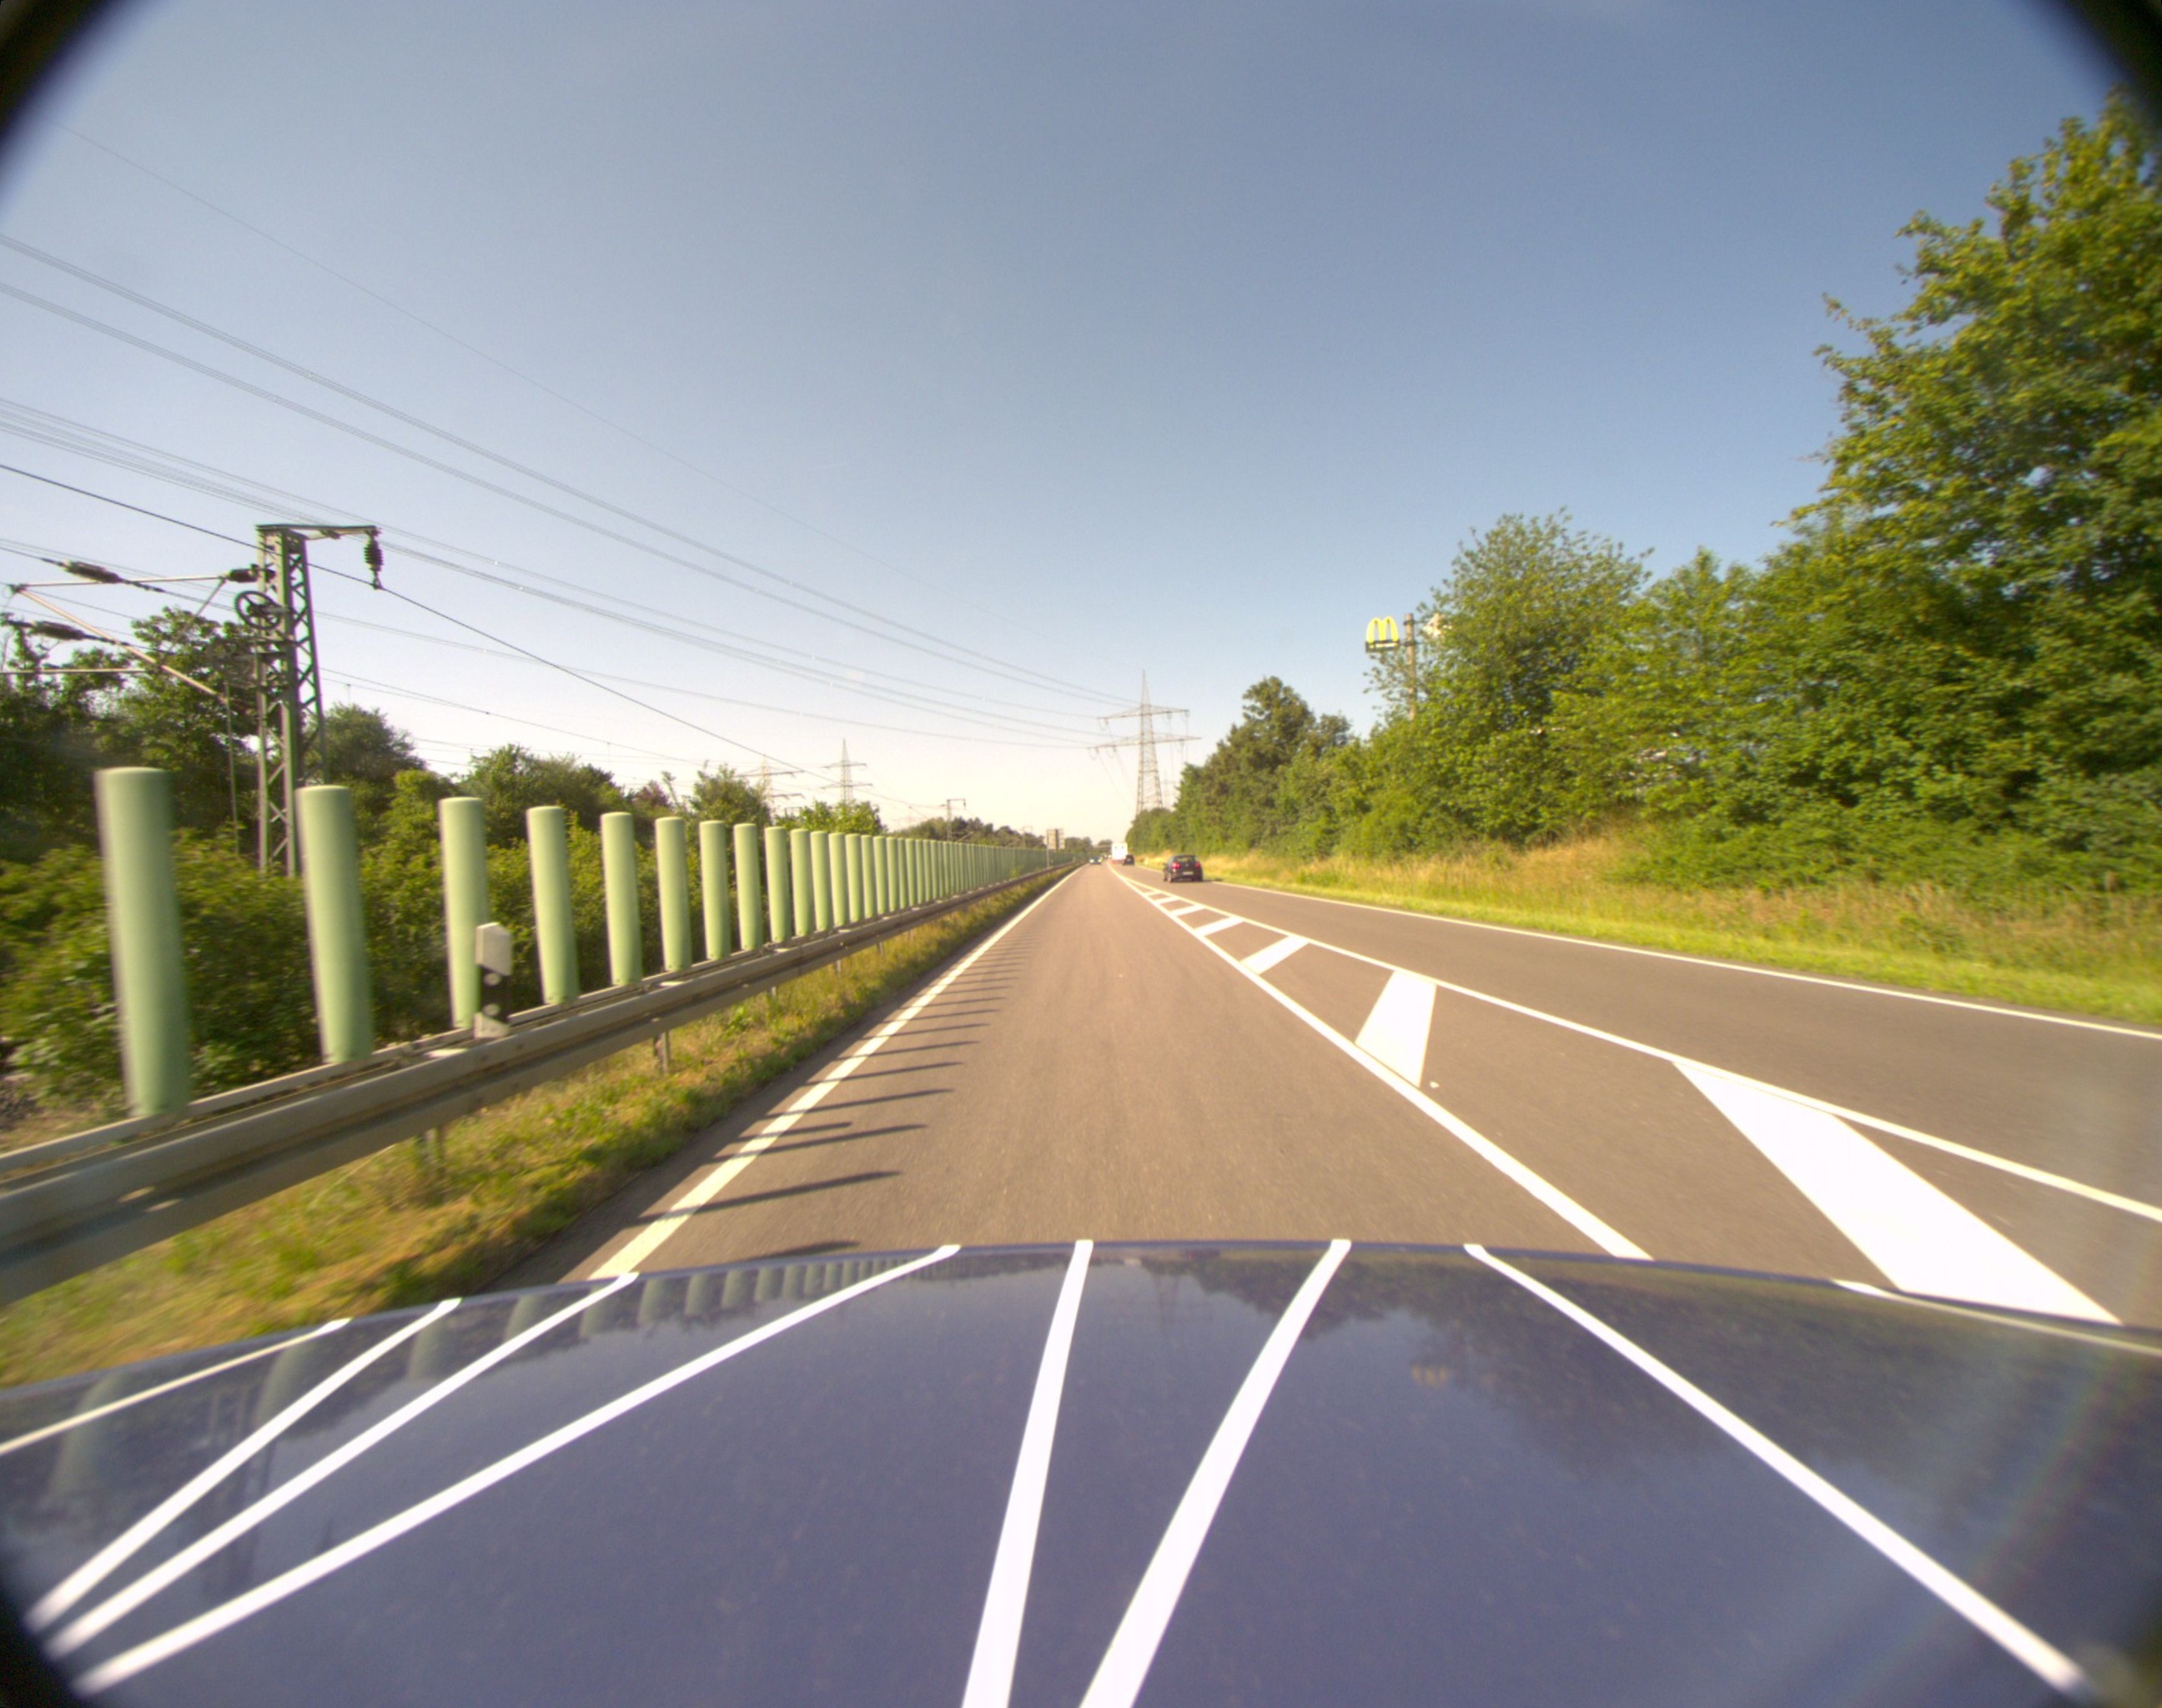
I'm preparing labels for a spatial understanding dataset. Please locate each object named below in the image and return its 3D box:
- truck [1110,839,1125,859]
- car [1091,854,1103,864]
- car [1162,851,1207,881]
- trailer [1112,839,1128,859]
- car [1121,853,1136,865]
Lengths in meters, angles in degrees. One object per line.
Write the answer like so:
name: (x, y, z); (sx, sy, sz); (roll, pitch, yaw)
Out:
truck: (7.086, -0.965, 148.365); (2.566, 3.667, 10.487); (-2, 0, 1)
car: (2.567, 0.780, 121.319); (1.787, 1.550, 4.000); (-1, 0, 2)
car: (5.505, 0.627, 40.706); (1.754, 1.473, 3.999); (-2, 0, -1)
trailer: (7.049, -0.868, 139.082); (2.566, 3.575, 8.292); (-2, 0, 1)
car: (6.565, 0.691, 104.991); (1.861, 1.550, 4.000); (-1, 0, 0)
